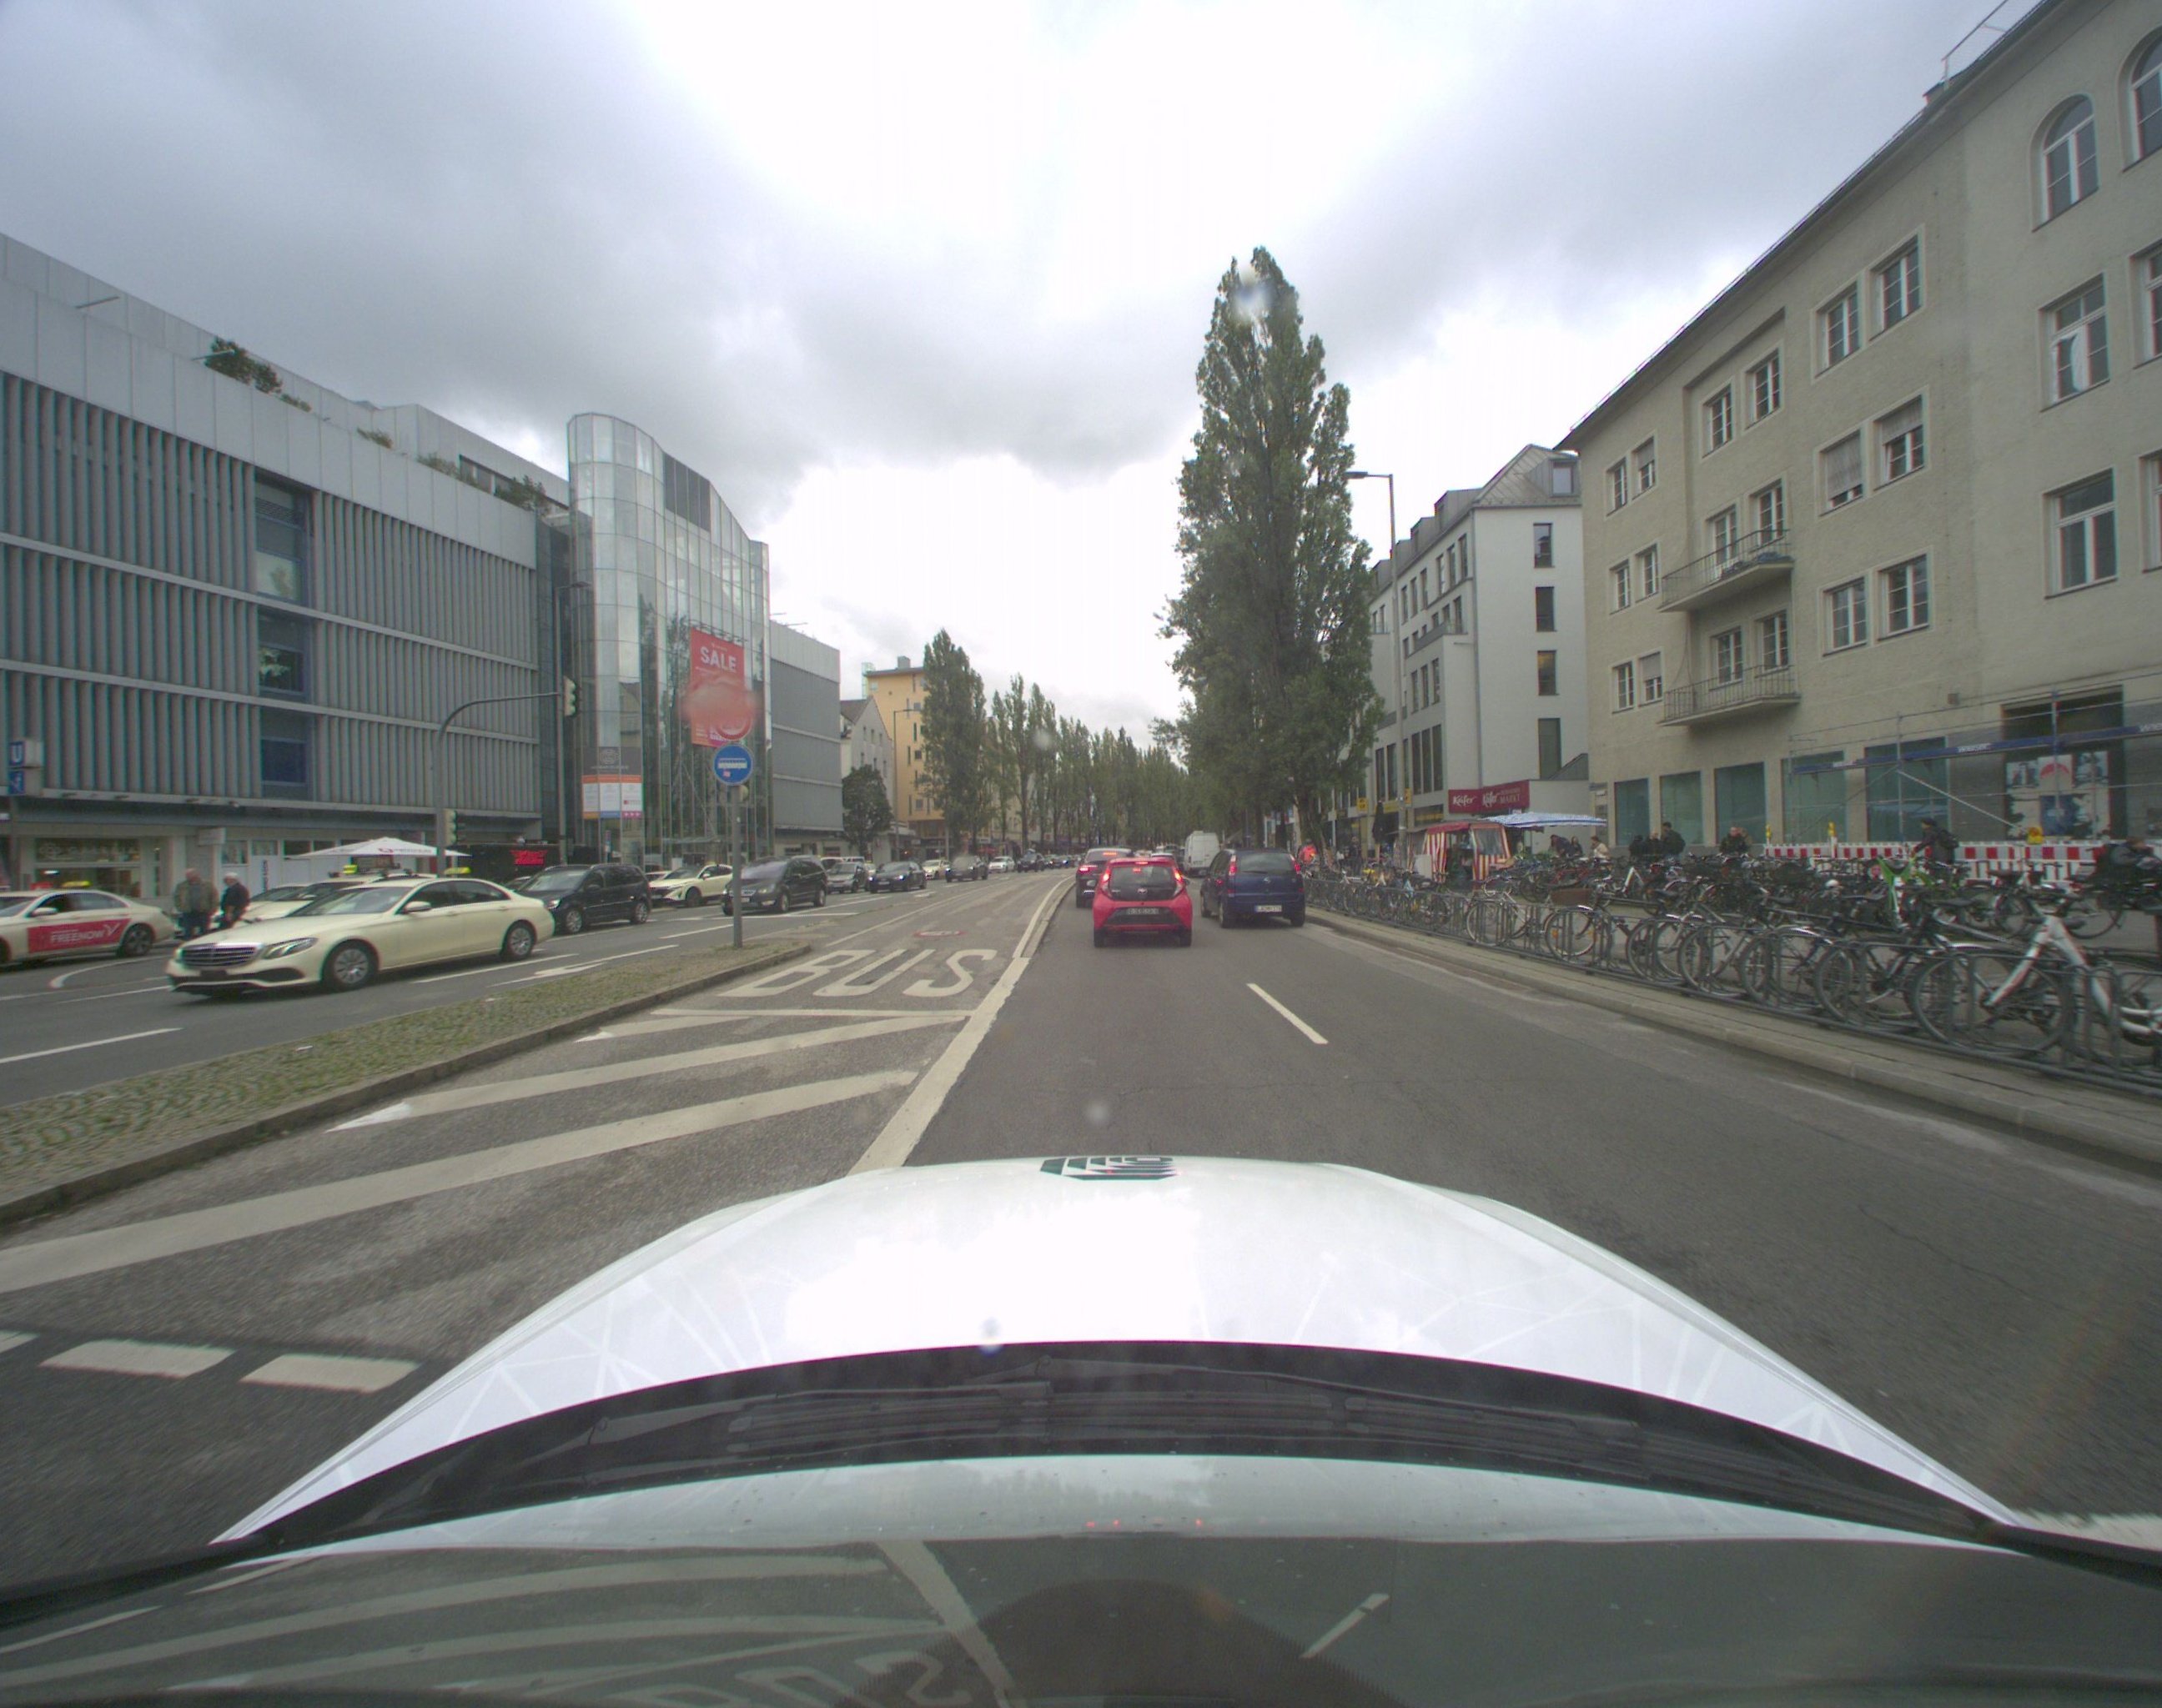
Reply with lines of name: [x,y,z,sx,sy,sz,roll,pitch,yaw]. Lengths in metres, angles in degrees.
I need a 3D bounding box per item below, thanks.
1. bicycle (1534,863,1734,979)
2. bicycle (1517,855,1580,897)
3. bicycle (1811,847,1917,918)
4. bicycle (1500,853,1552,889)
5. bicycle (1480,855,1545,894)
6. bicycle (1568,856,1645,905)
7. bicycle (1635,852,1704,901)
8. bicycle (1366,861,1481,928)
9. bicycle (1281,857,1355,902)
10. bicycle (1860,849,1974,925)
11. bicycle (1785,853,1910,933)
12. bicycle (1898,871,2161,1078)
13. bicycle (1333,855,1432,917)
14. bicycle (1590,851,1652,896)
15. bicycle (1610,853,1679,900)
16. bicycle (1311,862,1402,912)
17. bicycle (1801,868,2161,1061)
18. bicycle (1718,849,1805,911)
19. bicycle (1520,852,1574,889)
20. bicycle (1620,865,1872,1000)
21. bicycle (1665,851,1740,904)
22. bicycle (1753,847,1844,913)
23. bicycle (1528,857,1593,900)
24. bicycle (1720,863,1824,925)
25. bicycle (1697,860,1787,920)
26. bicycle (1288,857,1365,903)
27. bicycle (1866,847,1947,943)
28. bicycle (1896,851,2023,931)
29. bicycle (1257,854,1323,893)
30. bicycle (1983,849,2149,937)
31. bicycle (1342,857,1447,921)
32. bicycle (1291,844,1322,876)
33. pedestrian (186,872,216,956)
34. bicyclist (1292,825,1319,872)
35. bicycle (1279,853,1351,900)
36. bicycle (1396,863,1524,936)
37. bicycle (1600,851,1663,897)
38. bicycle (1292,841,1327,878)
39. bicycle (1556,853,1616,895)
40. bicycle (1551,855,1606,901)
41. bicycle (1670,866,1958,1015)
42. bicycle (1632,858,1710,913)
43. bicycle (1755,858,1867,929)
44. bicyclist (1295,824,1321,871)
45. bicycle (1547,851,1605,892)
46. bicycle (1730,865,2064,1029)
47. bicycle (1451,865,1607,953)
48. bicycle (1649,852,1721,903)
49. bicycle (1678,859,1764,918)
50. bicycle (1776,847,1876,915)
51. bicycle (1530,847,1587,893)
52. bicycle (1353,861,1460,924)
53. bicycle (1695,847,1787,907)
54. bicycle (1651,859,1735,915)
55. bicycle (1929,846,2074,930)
bicycle: [6.154,0.707,9.131,1.781,1.158,0.656,-1,0,37]
bicycle: [11.243,0.533,19.585,1.255,0.963,0.370,-2,0,4]
bicycle: [12.568,0.451,13.083,1.424,1.075,0.368,-2,0,-6]
bicycle: [12.365,0.469,22.639,1.240,0.963,0.369,-2,0,-1]
bicycle: [11.159,0.533,21.076,1.424,0.963,0.370,-2,0,7]
bicycle: [11.018,0.543,17.080,1.399,0.963,0.369,-2,0,-4]
bicycle: [12.489,0.478,17.283,1.243,0.981,0.368,-2,0,-8]
bicycle: [6.152,0.707,14.698,1.782,1.111,0.590,-1,0,44]
bicycle: [6.299,0.664,21.711,1.815,1.136,0.590,-1,0,44]
bicycle: [12.612,0.489,12.293,1.424,1.075,0.368,-2,0,-6]
bicycle: [11.044,0.553,11.751,1.412,1.077,0.369,-2,0,2]
bicycle: [6.250,0.694,4.920,1.781,1.158,0.551,-1,0,39]
bicycle: [6.195,0.649,16.809,1.815,1.197,0.590,-1,0,44]
bicycle: [12.626,0.454,19.051,1.243,0.981,0.368,-2,0,-8]
bicycle: [12.403,0.495,17.935,1.240,0.981,0.369,-2,0,-2]
bicycle: [6.145,0.715,18.218,1.815,1.052,0.590,-1,0,44]
bicycle: [6.195,0.690,5.627,1.781,1.158,0.551,-1,0,39]
bicycle: [12.361,0.466,14.794,1.326,1.075,0.368,-2,0,-6]
bicycle: [12.657,0.449,22.122,1.240,0.963,0.369,-2,0,-1]
bicycle: [6.227,0.702,7.752,1.782,1.158,0.490,-2,0,31]
bicycle: [12.286,0.462,16.104,1.242,0.981,0.368,-2,0,-6]
bicycle: [12.546,0.447,14.241,1.326,1.075,0.368,-2,0,-6]
bicycle: [11.238,0.580,19.102,1.253,0.963,0.370,-2,0,10]
bicycle: [10.949,0.627,12.914,1.287,0.915,0.369,-2,0,2]
bicycle: [11.057,0.600,13.645,1.127,0.963,0.370,-2,0,7]
bicycle: [6.297,0.660,20.949,1.815,1.136,0.590,-1,0,44]
bicycle: [10.804,0.497,10.698,0.364,1.141,1.734,-2,0,33]
bicycle: [12.691,0.528,11.772,1.548,1.075,0.368,-2,0,-6]
bicycle: [6.304,0.597,24.639,1.814,1.136,0.590,-1,0,37]
bicycle: [12.807,0.500,10.611,1.544,1.075,0.452,-2,0,2]
bicycle: [6.148,0.670,16.028,1.815,1.168,0.590,-1,0,44]
bicycle: [9.258,0.225,33.536,0.611,1.265,2.521,-2,0,2]
pedestrian: [-18.947,1.274,17.531,0.441,1.759,0.358,-2,0,37]
bicyclist: [9.238,-0.241,33.524,0.759,1.869,1.133,-2,0,2]
bicycle: [6.405,0.609,22.376,1.815,1.241,0.590,-1,0,44]
bicycle: [6.145,0.713,13.271,1.782,1.111,0.566,-1,0,43]
bicycle: [12.541,0.455,18.551,1.243,0.981,0.368,-2,0,-8]
bicycle: [8.254,0.163,29.546,0.611,1.265,2.521,-2,0,2]
bicycle: [12.535,0.493,20.232,1.240,0.981,0.369,-2,0,-1]
bicycle: [11.183,0.534,18.297,1.229,0.963,0.367,-2,0,-21]
bicycle: [6.269,0.707,7.097,1.782,1.158,0.490,-2,0,30]
bicycle: [11.068,0.587,15.278,1.177,0.963,0.369,-2,0,-1]
bicycle: [10.975,0.592,12.257,1.309,0.999,0.369,-2,0,2]
bicyclist: [8.239,-0.223,29.587,0.611,1.657,1.252,-2,0,2]
bicycle: [12.640,0.446,20.806,1.240,0.981,0.369,-2,0,-1]
bicycle: [6.320,0.688,6.435,1.782,1.158,0.490,-2,0,27]
bicycle: [6.130,0.721,11.194,1.781,1.111,0.656,-1,0,38]
bicycle: [12.389,0.480,16.717,1.242,0.981,0.368,-2,0,-6]
bicycle: [11.051,0.598,14.085,1.127,0.963,0.370,-2,0,7]
bicycle: [12.506,0.449,13.677,1.424,1.075,0.368,-2,0,-6]
bicycle: [12.558,0.416,21.421,1.240,1.140,0.369,-2,0,-1]
bicycle: [6.113,0.703,15.364,1.782,1.111,0.494,-1,0,44]
bicycle: [12.537,0.429,15.477,1.498,1.075,0.368,-2,0,-6]
bicycle: [11.059,0.589,14.735,1.175,0.963,0.370,-2,0,5]
bicycle: [12.691,0.460,11.243,1.546,1.075,0.451,-2,0,-3]
